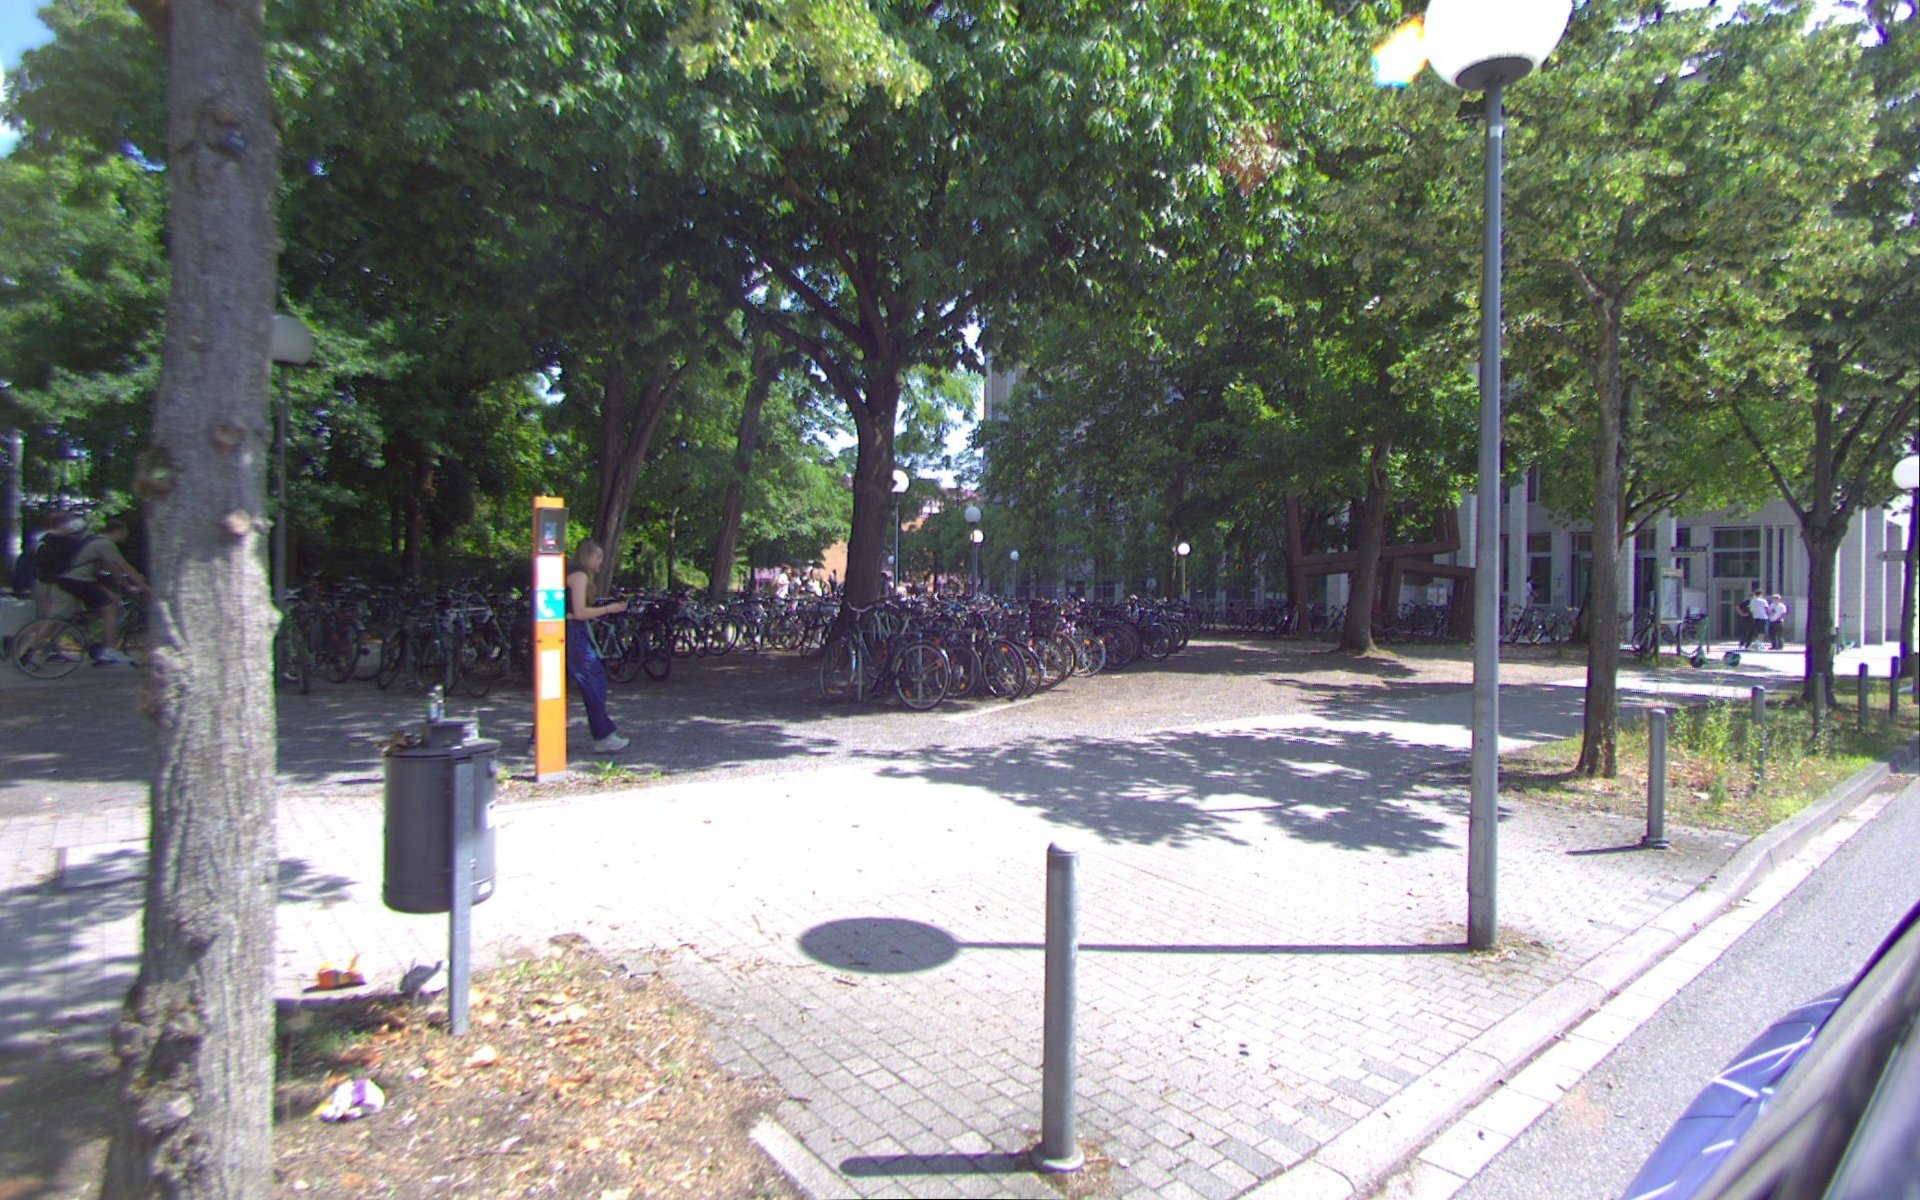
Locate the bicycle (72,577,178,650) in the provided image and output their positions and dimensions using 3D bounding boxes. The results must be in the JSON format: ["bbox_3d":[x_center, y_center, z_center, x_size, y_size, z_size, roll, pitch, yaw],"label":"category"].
[{"bbox_3d":[-12.546,0.177,15.194,1.944,0.991,0.606,2,1,31],"label":"bicycle"}]

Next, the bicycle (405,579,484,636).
[{"bbox_3d":[-10.117,0.130,19.851,1.737,1.052,0.474,2,1,29],"label":"bicycle"}]

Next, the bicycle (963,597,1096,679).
[{"bbox_3d":[0.972,0.516,14.437,1.895,1.073,0.322,2,0,27],"label":"bicycle"}]

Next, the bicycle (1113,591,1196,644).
[{"bbox_3d":[4.499,0.396,23.468,1.811,1.185,0.345,1,0,2],"label":"bicycle"}]

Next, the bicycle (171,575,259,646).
[{"bbox_3d":[-12.125,0.152,16.460,1.944,1.052,0.430,2,1,31],"label":"bicycle"}]

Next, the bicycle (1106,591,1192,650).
[{"bbox_3d":[4.035,0.424,21.637,1.768,1.185,0.400,1,0,16],"label":"bicycle"}]

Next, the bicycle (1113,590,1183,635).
[{"bbox_3d":[5.121,0.331,27.572,1.817,1.185,0.351,1,0,13],"label":"bicycle"}]

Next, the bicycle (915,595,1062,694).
[{"bbox_3d":[0.317,0.515,12.437,1.940,1.096,0.399,2,0,38],"label":"bicycle"}]

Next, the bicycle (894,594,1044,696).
[{"bbox_3d":[0.069,0.501,12.091,1.940,1.096,0.399,2,0,38],"label":"bicycle"}]

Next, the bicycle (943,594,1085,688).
[{"bbox_3d":[0.661,0.499,13.053,1.940,1.096,0.399,2,0,38],"label":"bicycle"}]

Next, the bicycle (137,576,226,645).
[{"bbox_3d":[-12.432,0.146,16.139,1.944,0.991,0.434,2,1,31],"label":"bicycle"}]

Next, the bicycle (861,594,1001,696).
[{"bbox_3d":[-0.370,0.499,11.965,1.764,1.096,0.432,2,0,38],"label":"bicycle"}]

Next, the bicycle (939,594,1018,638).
[{"bbox_3d":[0.447,0.378,24.797,1.880,0.991,0.376,2,1,20],"label":"bicycle"}]

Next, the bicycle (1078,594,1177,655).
[{"bbox_3d":[3.160,0.453,19.099,1.770,1.083,0.424,2,0,20],"label":"bicycle"}]

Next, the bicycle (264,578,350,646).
[{"bbox_3d":[-11.042,0.184,17.097,1.768,1.052,0.430,2,1,29],"label":"bicycle"}]

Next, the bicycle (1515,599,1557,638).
[{"bbox_3d":[17.341,0.564,30.451,1.486,1.099,0.482,3,0,-36],"label":"bicycle"}]

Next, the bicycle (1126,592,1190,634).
[{"bbox_3d":[5.817,0.371,29.796,1.816,1.185,0.412,1,0,11],"label":"bicycle"}]

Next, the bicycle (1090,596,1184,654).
[{"bbox_3d":[3.532,0.492,20.236,1.772,1.083,0.423,2,0,22],"label":"bicycle"}]

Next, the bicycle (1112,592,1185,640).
[{"bbox_3d":[4.924,0.419,26.439,1.817,1.185,0.351,1,0,13],"label":"bicycle"}]

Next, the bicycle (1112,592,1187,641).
[{"bbox_3d":[4.739,0.404,25.357,1.817,1.185,0.344,1,0,13],"label":"bicycle"}]

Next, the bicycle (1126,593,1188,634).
[{"bbox_3d":[6.057,0.409,31.145,1.816,1.185,0.412,1,0,11],"label":"bicycle"}]

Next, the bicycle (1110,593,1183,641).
[{"bbox_3d":[4.806,0.426,26.084,1.817,1.185,0.351,1,0,13],"label":"bicycle"}]

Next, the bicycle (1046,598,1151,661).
[{"bbox_3d":[2.441,0.509,17.883,1.769,1.041,0.379,2,0,19],"label":"bicycle"}]

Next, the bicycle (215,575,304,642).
[{"bbox_3d":[-11.890,0.121,17.158,1.944,1.052,0.473,2,1,31],"label":"bicycle"}]

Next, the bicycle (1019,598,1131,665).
[{"bbox_3d":[1.894,0.504,16.737,1.773,1.041,0.438,2,0,18],"label":"bicycle"}]

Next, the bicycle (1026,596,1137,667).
[{"bbox_3d":[1.945,0.486,16.227,1.712,1.065,0.492,1,0,14],"label":"bicycle"}]

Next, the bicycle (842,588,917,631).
[{"bbox_3d":[-2.022,0.226,25.330,1.880,0.991,0.376,2,1,20],"label":"bicycle"}]

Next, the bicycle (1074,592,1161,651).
[{"bbox_3d":[3.323,0.435,21.422,1.768,1.185,0.400,1,0,16],"label":"bicycle"}]

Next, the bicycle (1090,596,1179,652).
[{"bbox_3d":[3.604,0.482,20.865,1.767,1.083,0.425,1,0,14],"label":"bicycle"}]

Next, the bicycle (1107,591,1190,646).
[{"bbox_3d":[4.280,0.401,22.995,1.819,1.185,0.344,2,0,16],"label":"bicycle"}]

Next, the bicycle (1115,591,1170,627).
[{"bbox_3d":[6.313,0.308,35.026,1.812,1.185,0.345,1,0,5],"label":"bicycle"}]

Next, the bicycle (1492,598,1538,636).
[{"bbox_3d":[16.813,0.525,30.642,1.664,1.099,0.482,3,0,-36],"label":"bicycle"}]

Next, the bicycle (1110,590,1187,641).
[{"bbox_3d":[4.592,0.362,24.690,1.817,1.185,0.344,1,0,13],"label":"bicycle"}]

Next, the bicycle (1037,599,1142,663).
[{"bbox_3d":[2.244,0.522,17.573,1.769,1.041,0.380,2,0,18],"label":"bicycle"}]

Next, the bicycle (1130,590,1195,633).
[{"bbox_3d":[5.821,0.330,29.169,1.816,1.185,0.387,1,0,11],"label":"bicycle"}]

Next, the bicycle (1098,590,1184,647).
[{"bbox_3d":[3.982,0.403,22.330,1.819,1.185,0.400,2,0,16],"label":"bicycle"}]

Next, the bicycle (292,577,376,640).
[{"bbox_3d":[-11.207,0.134,18.100,1.768,1.052,0.474,2,1,29],"label":"bicycle"}]

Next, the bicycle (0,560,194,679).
[{"bbox_3d":[-10.033,0.200,11.760,0.527,1.268,1.720,3,2,29],"label":"bicycle"}]

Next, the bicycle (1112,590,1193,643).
[{"bbox_3d":[4.523,0.382,23.842,1.811,1.185,0.345,1,0,2],"label":"bicycle"}]

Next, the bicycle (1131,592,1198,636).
[{"bbox_3d":[5.717,0.386,28.335,1.817,1.185,0.351,1,0,13],"label":"bicycle"}]

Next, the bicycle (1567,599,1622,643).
[{"bbox_3d":[18.136,0.601,28.923,1.494,1.155,0.493,3,0,-21],"label":"bicycle"}]

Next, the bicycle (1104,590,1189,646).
[{"bbox_3d":[4.172,0.384,22.660,1.819,1.185,0.344,2,0,16],"label":"bicycle"}]

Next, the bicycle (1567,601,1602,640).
[{"bbox_3d":[18.313,0.609,29.663,1.416,1.099,0.460,3,1,-43],"label":"bicycle"}]

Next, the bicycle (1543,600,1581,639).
[{"bbox_3d":[17.738,0.587,29.788,1.447,1.099,0.460,3,1,-40],"label":"bicycle"}]

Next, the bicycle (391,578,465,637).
[{"bbox_3d":[-10.281,0.133,19.533,1.737,1.052,0.344,2,1,29],"label":"bicycle"}]

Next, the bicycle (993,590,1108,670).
[{"bbox_3d":[1.401,0.449,15.649,1.712,1.169,0.492,1,0,14],"label":"bicycle"}]

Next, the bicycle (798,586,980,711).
[{"bbox_3d":[-0.788,0.467,10.776,2.010,1.181,0.643,2,0,38],"label":"bicycle"}]

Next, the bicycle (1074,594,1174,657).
[{"bbox_3d":[3.023,0.461,18.682,1.770,1.083,0.424,2,0,20],"label":"bicycle"}]

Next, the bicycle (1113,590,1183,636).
[{"bbox_3d":[5.048,0.340,27.223,1.817,1.185,0.351,1,0,13],"label":"bicycle"}]

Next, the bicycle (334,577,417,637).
[{"bbox_3d":[-10.943,0.115,18.937,1.816,1.052,0.474,2,1,29],"label":"bicycle"}]

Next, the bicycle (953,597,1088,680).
[{"bbox_3d":[0.828,0.518,14.165,1.895,1.073,0.322,2,0,27],"label":"bicycle"}]

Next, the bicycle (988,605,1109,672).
[{"bbox_3d":[1.321,0.563,15.149,1.717,0.921,0.491,2,0,21],"label":"bicycle"}]

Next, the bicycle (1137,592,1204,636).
[{"bbox_3d":[5.968,0.387,28.669,1.817,1.185,0.387,1,0,13],"label":"bicycle"}]

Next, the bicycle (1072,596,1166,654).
[{"bbox_3d":[3.130,0.479,19.955,1.772,1.083,0.423,2,0,22],"label":"bicycle"}]
